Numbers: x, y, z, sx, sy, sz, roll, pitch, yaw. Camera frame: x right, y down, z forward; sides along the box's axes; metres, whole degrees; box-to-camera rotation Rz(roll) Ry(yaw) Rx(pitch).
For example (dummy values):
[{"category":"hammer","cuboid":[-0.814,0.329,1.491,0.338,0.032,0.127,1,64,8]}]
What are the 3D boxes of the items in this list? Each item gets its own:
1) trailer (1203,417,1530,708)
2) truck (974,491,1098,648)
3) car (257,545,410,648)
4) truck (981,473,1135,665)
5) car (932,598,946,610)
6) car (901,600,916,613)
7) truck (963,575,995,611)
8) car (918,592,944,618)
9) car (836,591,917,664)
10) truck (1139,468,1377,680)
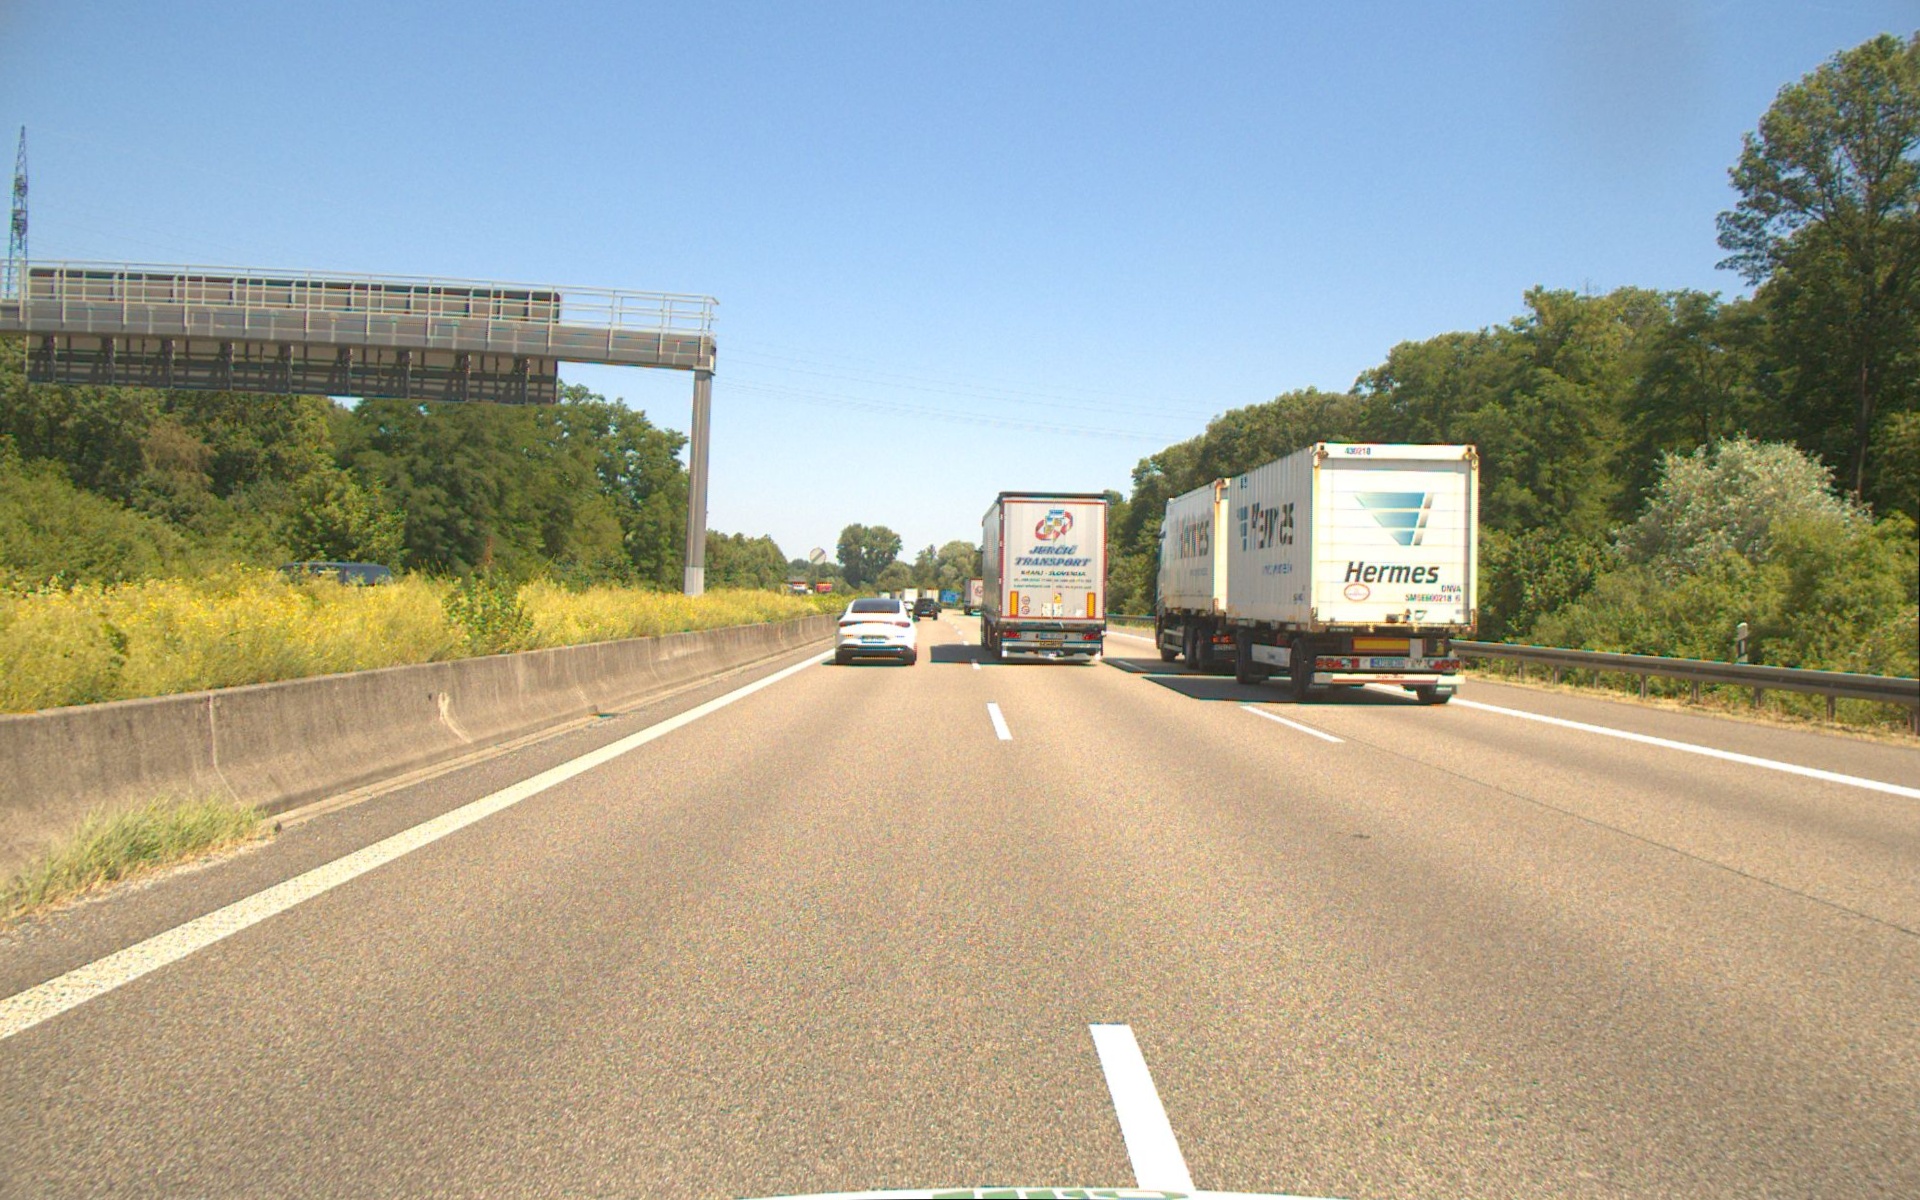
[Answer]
[{"category":"trailer","cuboid":[6.665,-0.586,28.931,3.299,4.215,9.090,1,0,-1]},{"category":"truck","cuboid":[2.121,-0.851,48.964,3.153,4.278,6.548,1,0,-2]},{"category":"car","cuboid":[-13.571,-0.076,36.076,1.736,2.093,4.002,1,0,1]},{"category":"truck","cuboid":[2.271,-0.746,41.809,3.164,4.275,8.464,1,1,-1]},{"category":"car","cuboid":[-3.003,0.505,232.455,1.953,1.624,3.999,1,0,-1]},{"category":"car","cuboid":[-6.816,0.877,220.607,1.953,1.624,3.999,1,0,-1]},{"category":"truck","cuboid":[2.183,-0.845,192.154,3.375,4.059,9.512,1,0,-2]},{"category":"car","cuboid":[-2.279,0.386,129.948,1.953,1.906,4.000,1,2,-1]},{"category":"car","cuboid":[-1.892,0.592,38.648,1.731,1.473,5.107,1,1,-1]},{"category":"truck","cuboid":[6.504,-0.575,38.274,3.258,4.123,10.951,1,1,-1]}]
